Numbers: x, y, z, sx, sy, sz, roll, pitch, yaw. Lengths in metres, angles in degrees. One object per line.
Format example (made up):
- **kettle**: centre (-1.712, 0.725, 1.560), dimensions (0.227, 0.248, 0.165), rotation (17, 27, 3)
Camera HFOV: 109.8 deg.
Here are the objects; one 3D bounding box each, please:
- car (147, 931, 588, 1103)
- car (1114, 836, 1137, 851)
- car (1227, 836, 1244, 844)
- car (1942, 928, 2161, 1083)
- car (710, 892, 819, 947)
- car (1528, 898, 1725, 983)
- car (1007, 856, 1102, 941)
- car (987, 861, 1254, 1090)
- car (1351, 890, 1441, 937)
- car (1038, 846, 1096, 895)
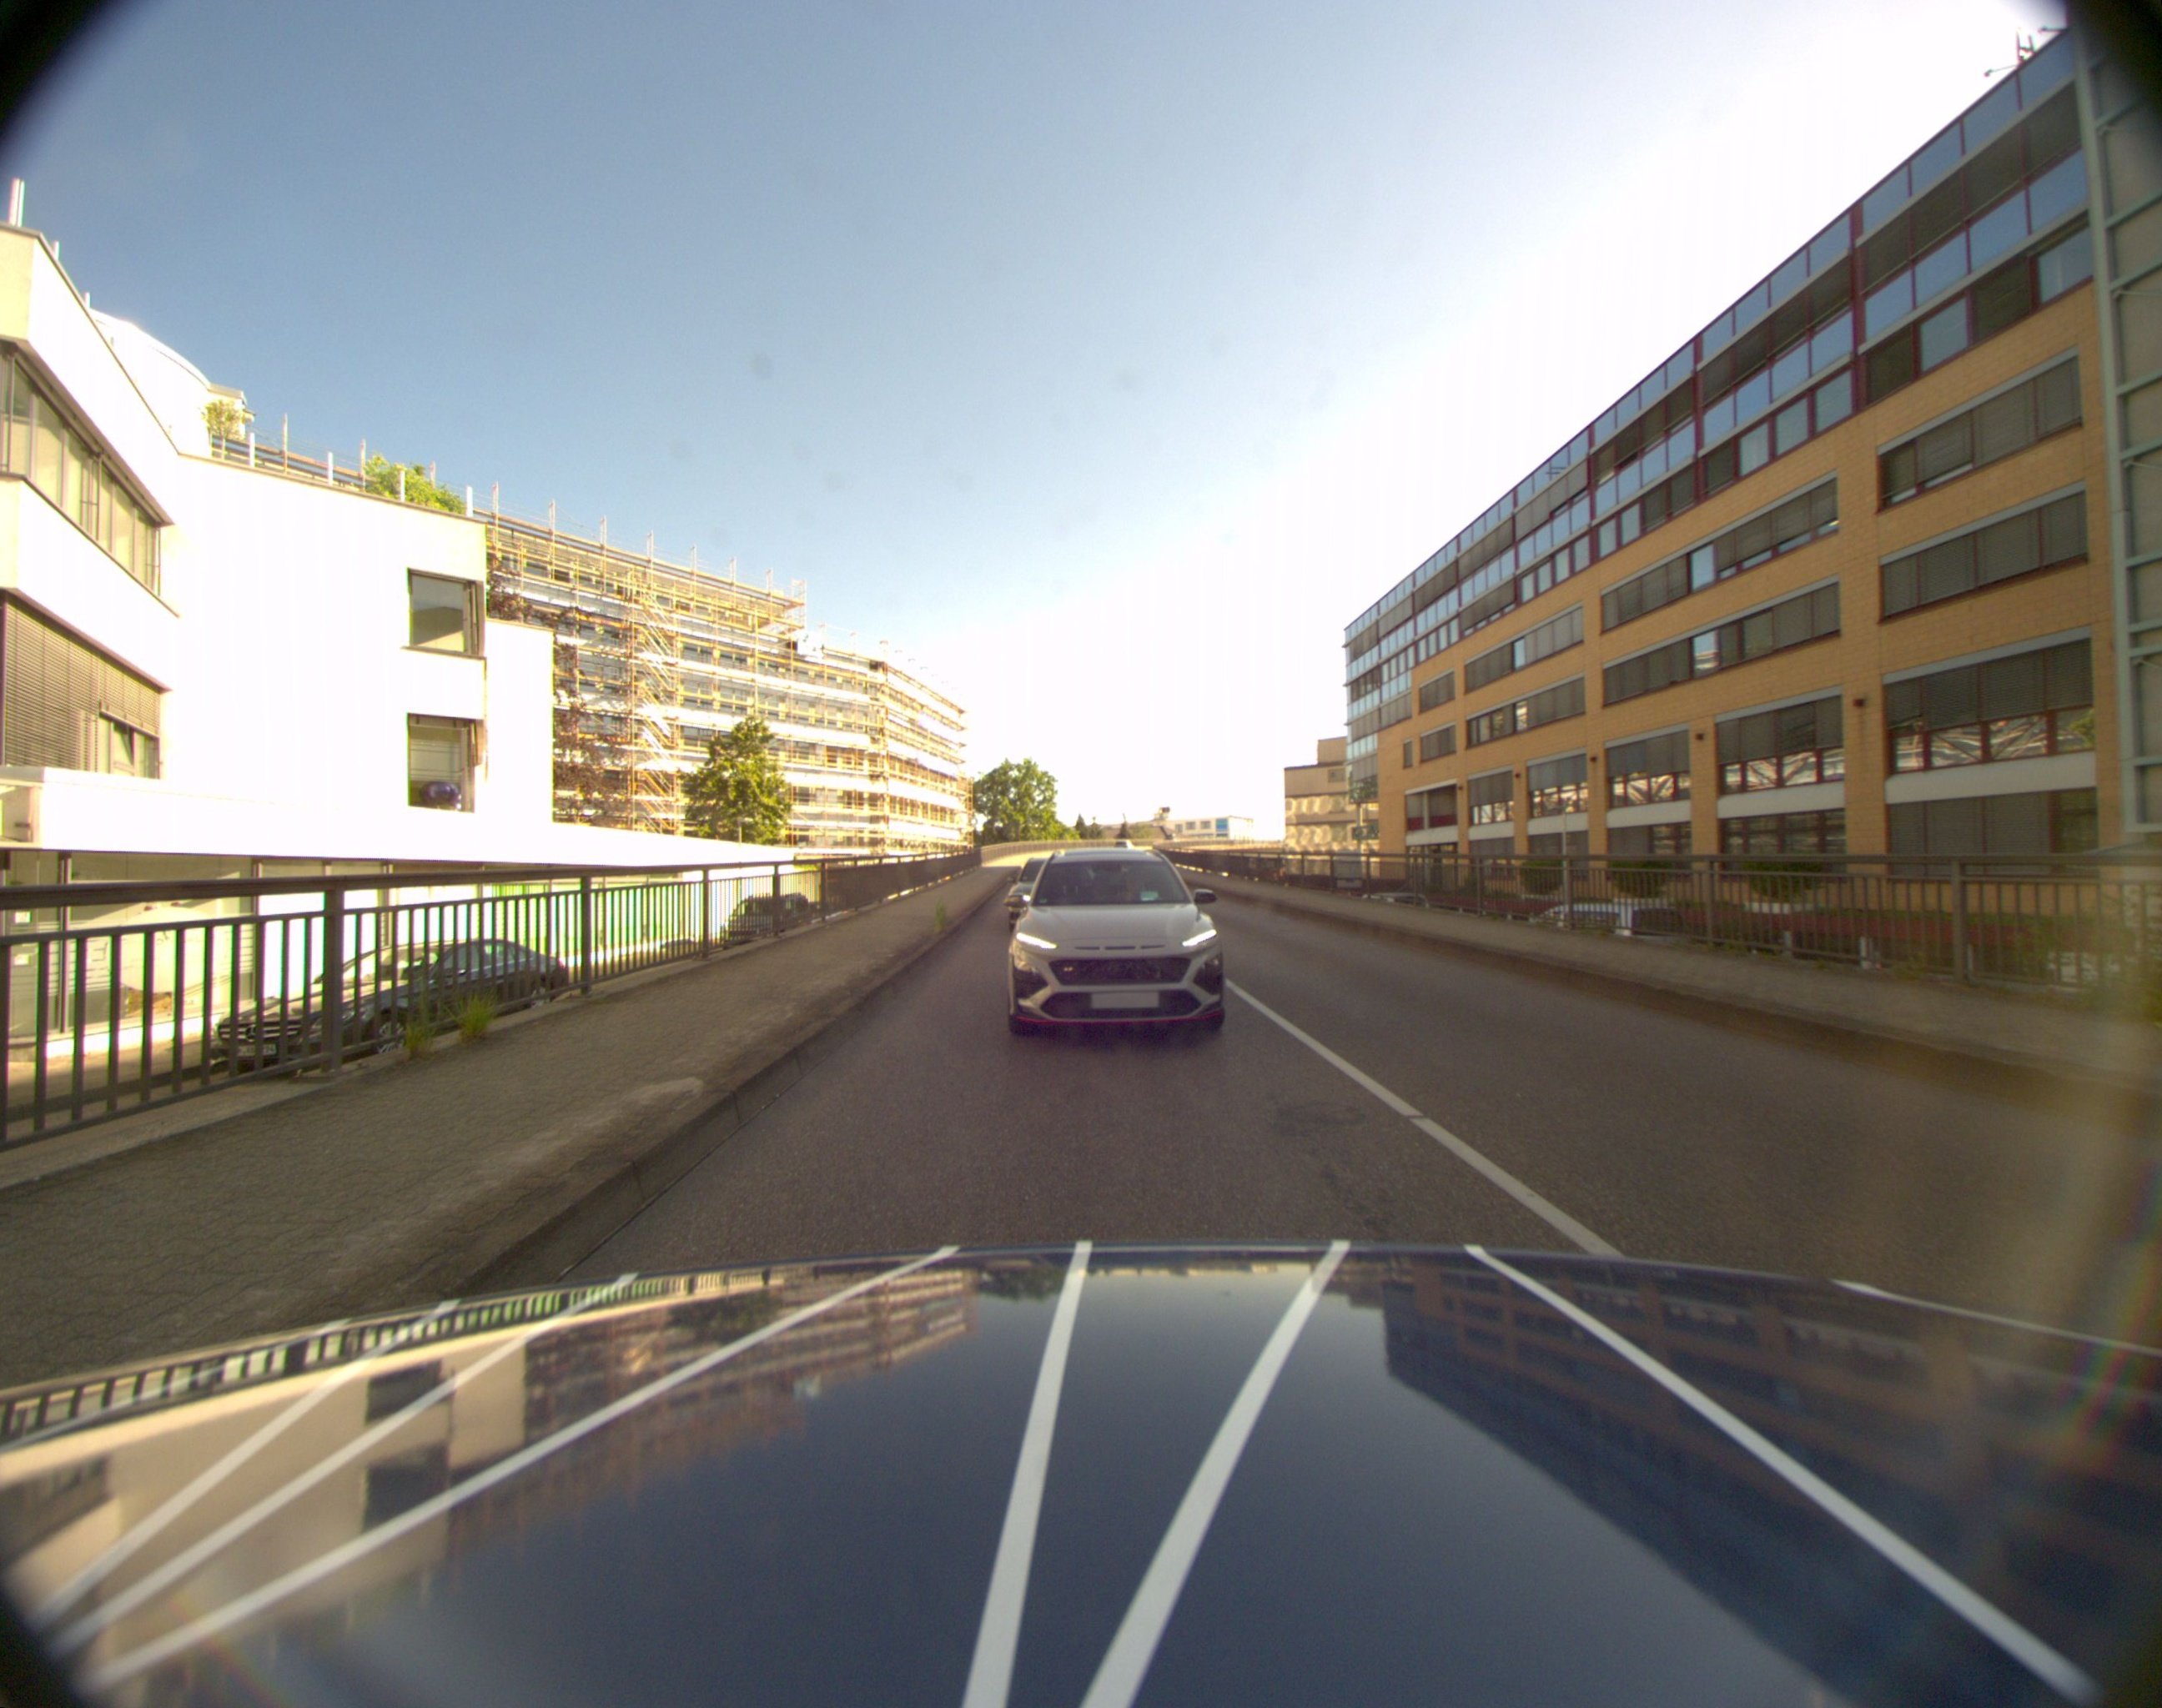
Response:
- **car**: centre (-9.679, 2.104, 11.030), dimensions (1.849, 1.422, 4.682), rotation (-2, 0, 2)
- **car**: centre (4.989, -1.138, 84.047), dimensions (1.823, 1.594, 4.004), rotation (-1, 0, 13)
- **car**: centre (27.009, -2.391, 132.565), dimensions (1.697, 1.326, 4.007), rotation (-1, 0, 29)
- **car**: centre (13.294, 1.817, 8.698), dimensions (1.825, 1.594, 4.357), rotation (0, -1, -2)
- **car**: centre (-10.270, 2.083, 25.001), dimensions (1.849, 1.526, 4.001), rotation (0, -1, 1)
- **car**: centre (13.209, 2.030, 18.757), dimensions (1.998, 1.714, 4.001), rotation (0, -1, 1)
- **car**: centre (-0.592, 0.819, 16.145), dimensions (1.721, 1.483, 4.167), rotation (-2, 1, -3)
- **car**: centre (0.253, 0.877, 7.490), dimensions (1.849, 1.560, 4.221), rotation (-2, 0, -1)
- **car**: centre (12.615, 2.363, 30.735), dimensions (1.998, 1.652, 4.001), rotation (0, -1, 1)
- **car**: centre (-0.505, 0.530, 26.759), dimensions (1.849, 1.526, 4.507), rotation (-2, 1, -1)
